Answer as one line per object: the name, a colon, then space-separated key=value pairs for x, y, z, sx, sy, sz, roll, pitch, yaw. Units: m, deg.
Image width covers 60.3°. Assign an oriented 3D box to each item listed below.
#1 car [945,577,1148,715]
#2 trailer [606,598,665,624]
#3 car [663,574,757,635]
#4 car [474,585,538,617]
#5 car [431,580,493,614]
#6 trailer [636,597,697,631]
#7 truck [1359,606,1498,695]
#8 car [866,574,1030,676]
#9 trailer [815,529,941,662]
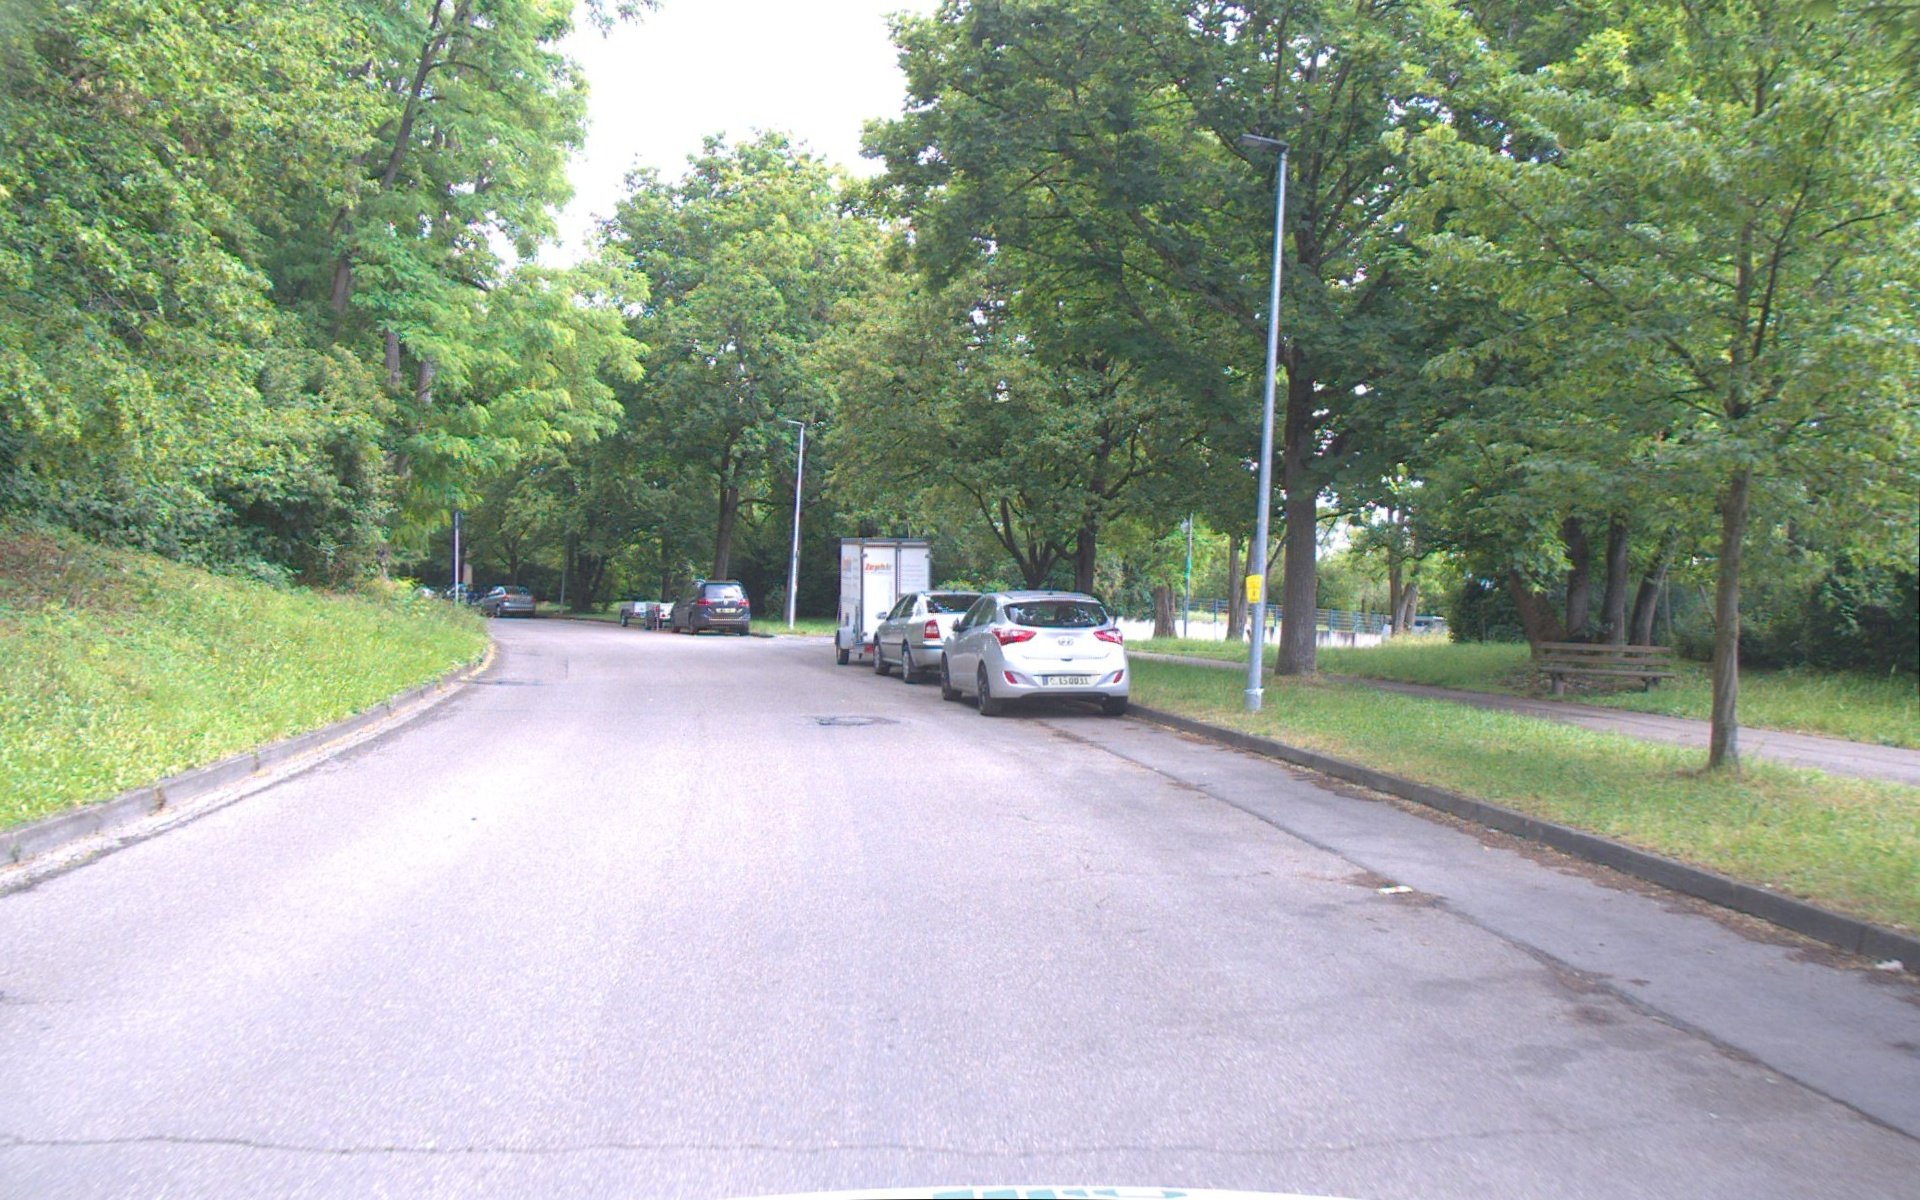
car: x=0.976 y=0.530 z=20.909 sx=1.866 sy=1.502 sz=4.053 roll=3 pitch=0 yaw=-7
trailer: x=-11.973 y=0.425 z=60.872 sx=1.346 sy=0.862 sz=3.251 roll=3 pitch=-2 yaw=-25
car: x=-7.752 y=0.136 z=50.902 sx=1.750 sy=1.691 sz=4.808 roll=3 pitch=-1 yaw=-22
car: x=-20.928 y=0.058 z=76.151 sx=1.702 sy=1.456 sz=3.901 roll=1 pitch=-1 yaw=-34
car: x=-24.643 y=-0.132 z=81.741 sx=1.700 sy=1.536 sz=4.129 roll=4 pitch=-2 yaw=-35
trailer: x=-10.056 y=0.471 z=56.510 sx=1.337 sy=0.986 sz=3.870 roll=3 pitch=0 yaw=-20
truck: x=23.334 y=2.570 z=82.003 sx=2.650 sy=4.067 sz=9.513 roll=0 pitch=-3 yaw=42
car: x=-0.301 y=0.385 z=27.521 sx=1.712 sy=1.552 sz=4.618 roll=1 pitch=0 yaw=-14
trailer: x=-1.688 y=-0.085 z=32.737 sx=1.731 sy=2.469 sz=3.872 roll=1 pitch=0 yaw=-15
